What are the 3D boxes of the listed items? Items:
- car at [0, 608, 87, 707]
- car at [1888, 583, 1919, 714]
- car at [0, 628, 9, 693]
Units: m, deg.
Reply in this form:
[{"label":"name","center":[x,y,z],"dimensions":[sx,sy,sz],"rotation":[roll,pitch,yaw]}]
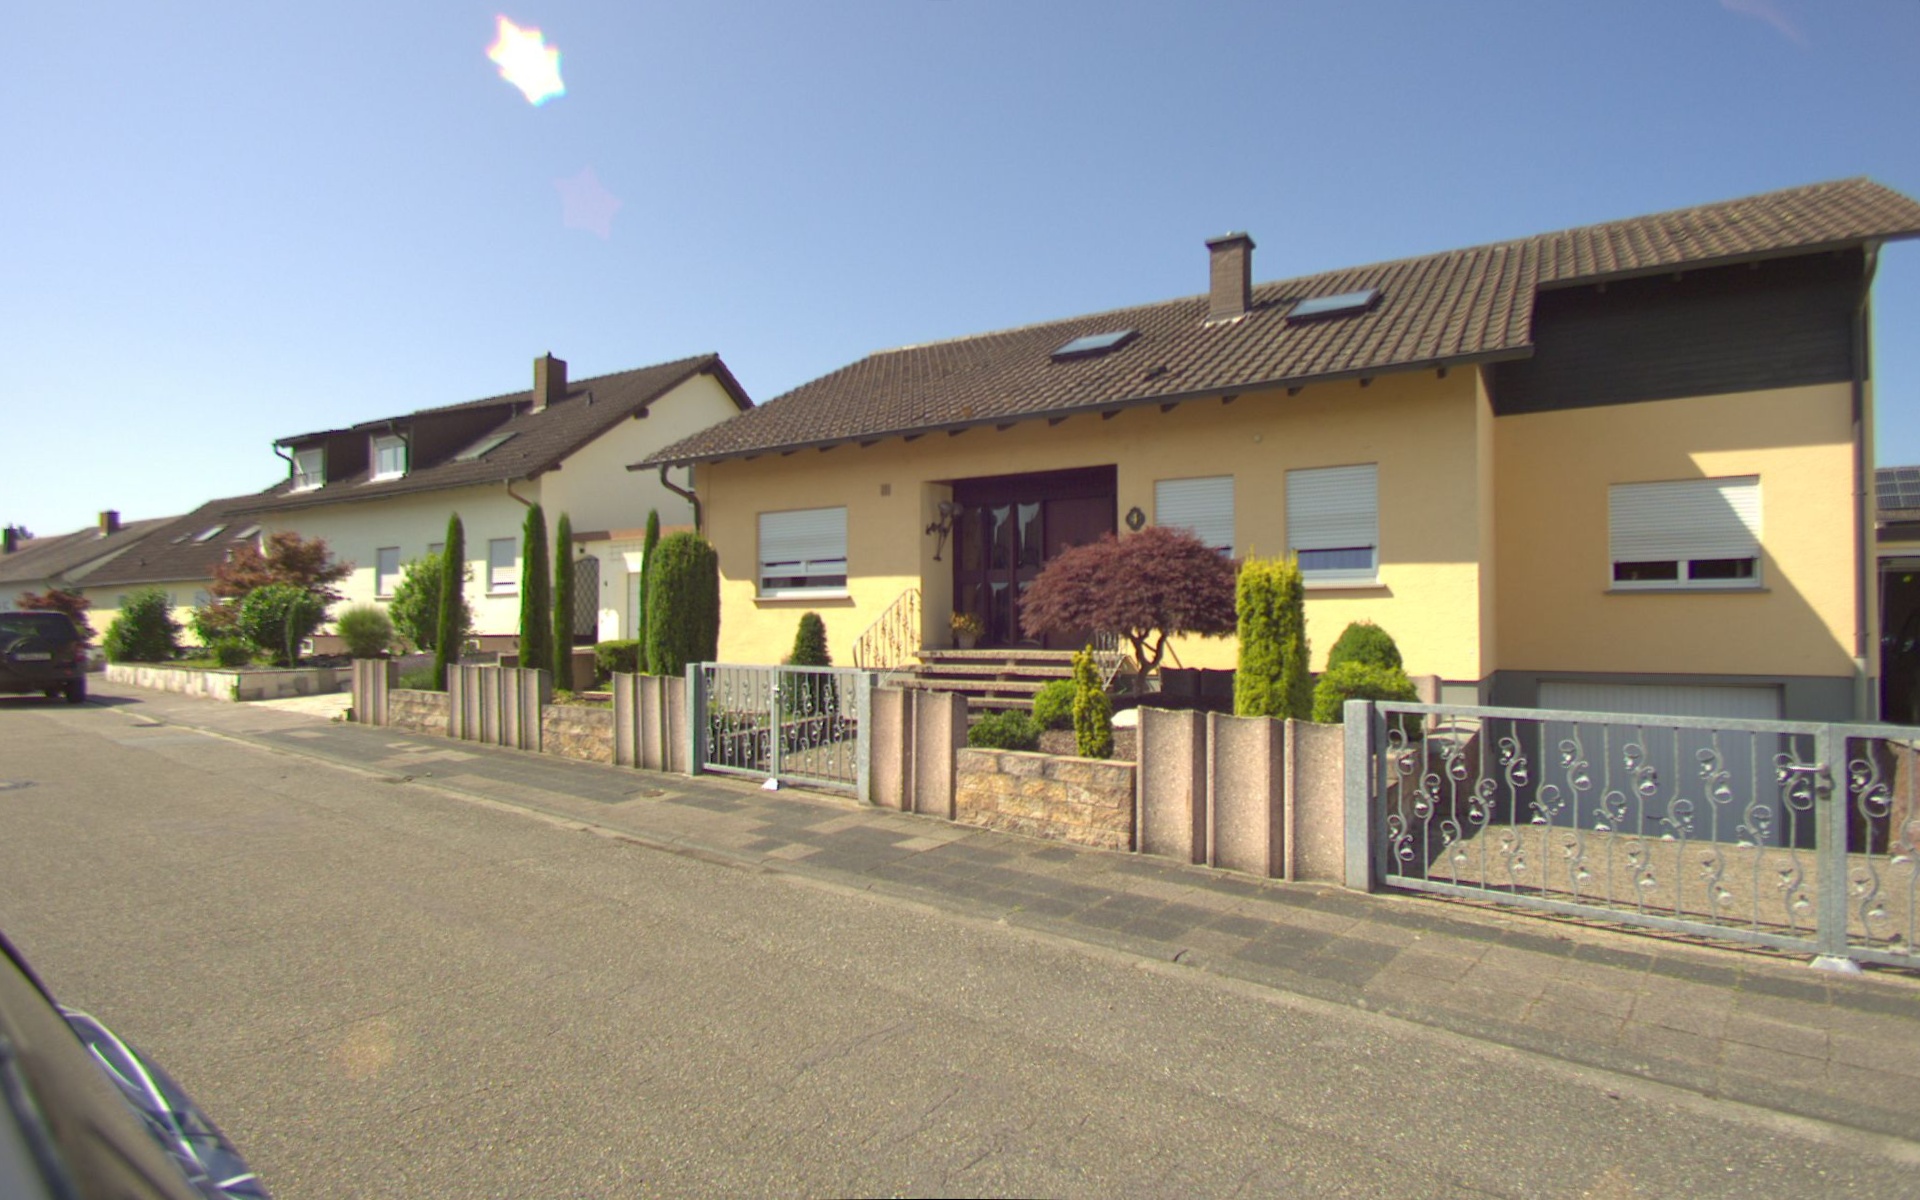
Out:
[{"label":"car","center":[-18.536,1.080,19.739],"dimensions":[3.649,1.791,1.747],"rotation":[-2,-2,40]},{"label":"car","center":[12.975,0.615,12.696],"dimensions":[1.545,1.623,3.656],"rotation":[-2,-2,37]},{"label":"car","center":[-22.758,1.380,23.036],"dimensions":[3.101,1.434,1.289],"rotation":[-2,-2,40]}]
